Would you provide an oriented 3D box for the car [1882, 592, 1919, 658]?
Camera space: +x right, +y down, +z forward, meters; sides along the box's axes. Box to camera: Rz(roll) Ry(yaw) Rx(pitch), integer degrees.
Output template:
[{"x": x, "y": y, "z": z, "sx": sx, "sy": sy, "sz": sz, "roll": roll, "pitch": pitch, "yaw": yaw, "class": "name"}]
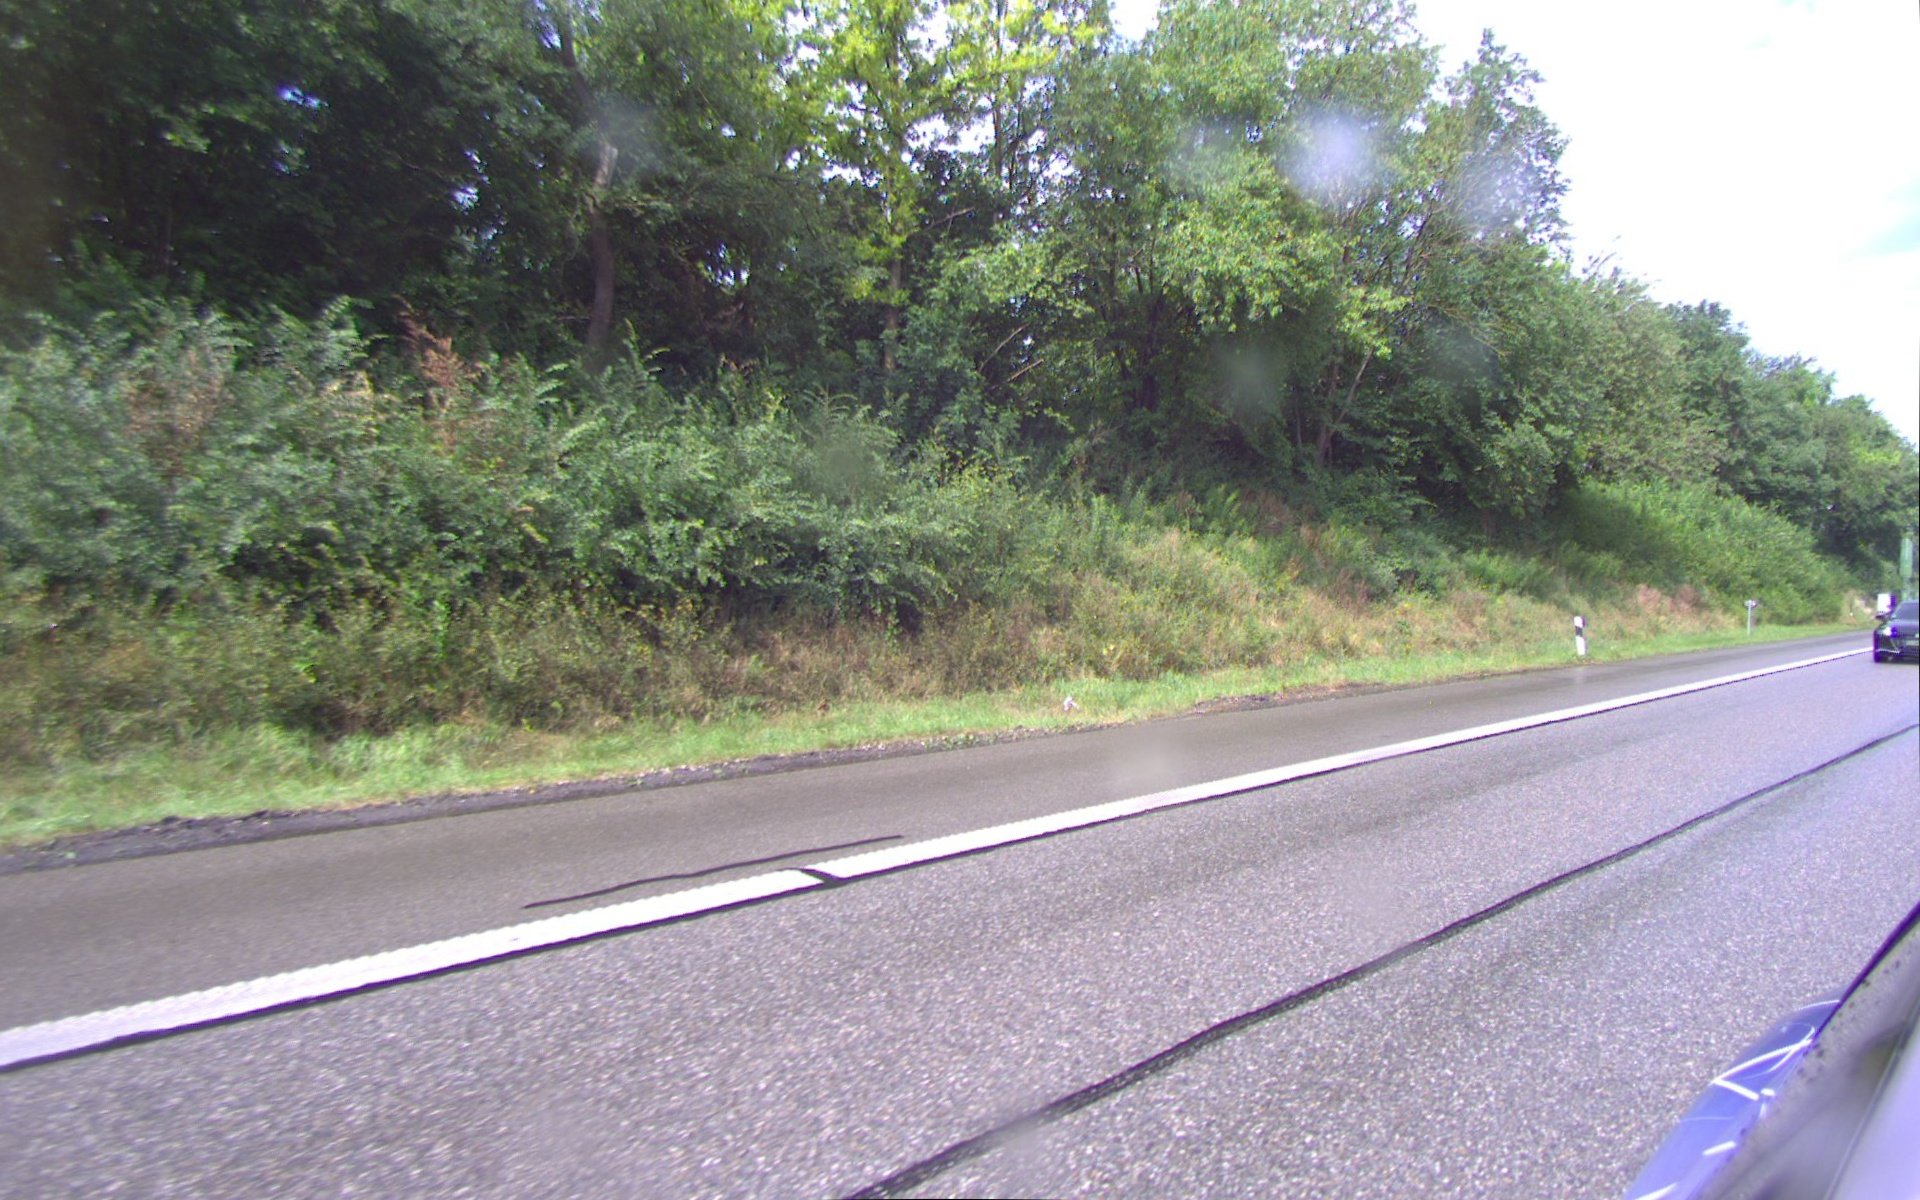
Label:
[{"x": 22.490, "y": 0.525, "z": 23.061, "sx": 4.293, "sy": 1.414, "sz": 1.758, "roll": 0, "pitch": 1, "yaw": -42, "class": "car"}]
